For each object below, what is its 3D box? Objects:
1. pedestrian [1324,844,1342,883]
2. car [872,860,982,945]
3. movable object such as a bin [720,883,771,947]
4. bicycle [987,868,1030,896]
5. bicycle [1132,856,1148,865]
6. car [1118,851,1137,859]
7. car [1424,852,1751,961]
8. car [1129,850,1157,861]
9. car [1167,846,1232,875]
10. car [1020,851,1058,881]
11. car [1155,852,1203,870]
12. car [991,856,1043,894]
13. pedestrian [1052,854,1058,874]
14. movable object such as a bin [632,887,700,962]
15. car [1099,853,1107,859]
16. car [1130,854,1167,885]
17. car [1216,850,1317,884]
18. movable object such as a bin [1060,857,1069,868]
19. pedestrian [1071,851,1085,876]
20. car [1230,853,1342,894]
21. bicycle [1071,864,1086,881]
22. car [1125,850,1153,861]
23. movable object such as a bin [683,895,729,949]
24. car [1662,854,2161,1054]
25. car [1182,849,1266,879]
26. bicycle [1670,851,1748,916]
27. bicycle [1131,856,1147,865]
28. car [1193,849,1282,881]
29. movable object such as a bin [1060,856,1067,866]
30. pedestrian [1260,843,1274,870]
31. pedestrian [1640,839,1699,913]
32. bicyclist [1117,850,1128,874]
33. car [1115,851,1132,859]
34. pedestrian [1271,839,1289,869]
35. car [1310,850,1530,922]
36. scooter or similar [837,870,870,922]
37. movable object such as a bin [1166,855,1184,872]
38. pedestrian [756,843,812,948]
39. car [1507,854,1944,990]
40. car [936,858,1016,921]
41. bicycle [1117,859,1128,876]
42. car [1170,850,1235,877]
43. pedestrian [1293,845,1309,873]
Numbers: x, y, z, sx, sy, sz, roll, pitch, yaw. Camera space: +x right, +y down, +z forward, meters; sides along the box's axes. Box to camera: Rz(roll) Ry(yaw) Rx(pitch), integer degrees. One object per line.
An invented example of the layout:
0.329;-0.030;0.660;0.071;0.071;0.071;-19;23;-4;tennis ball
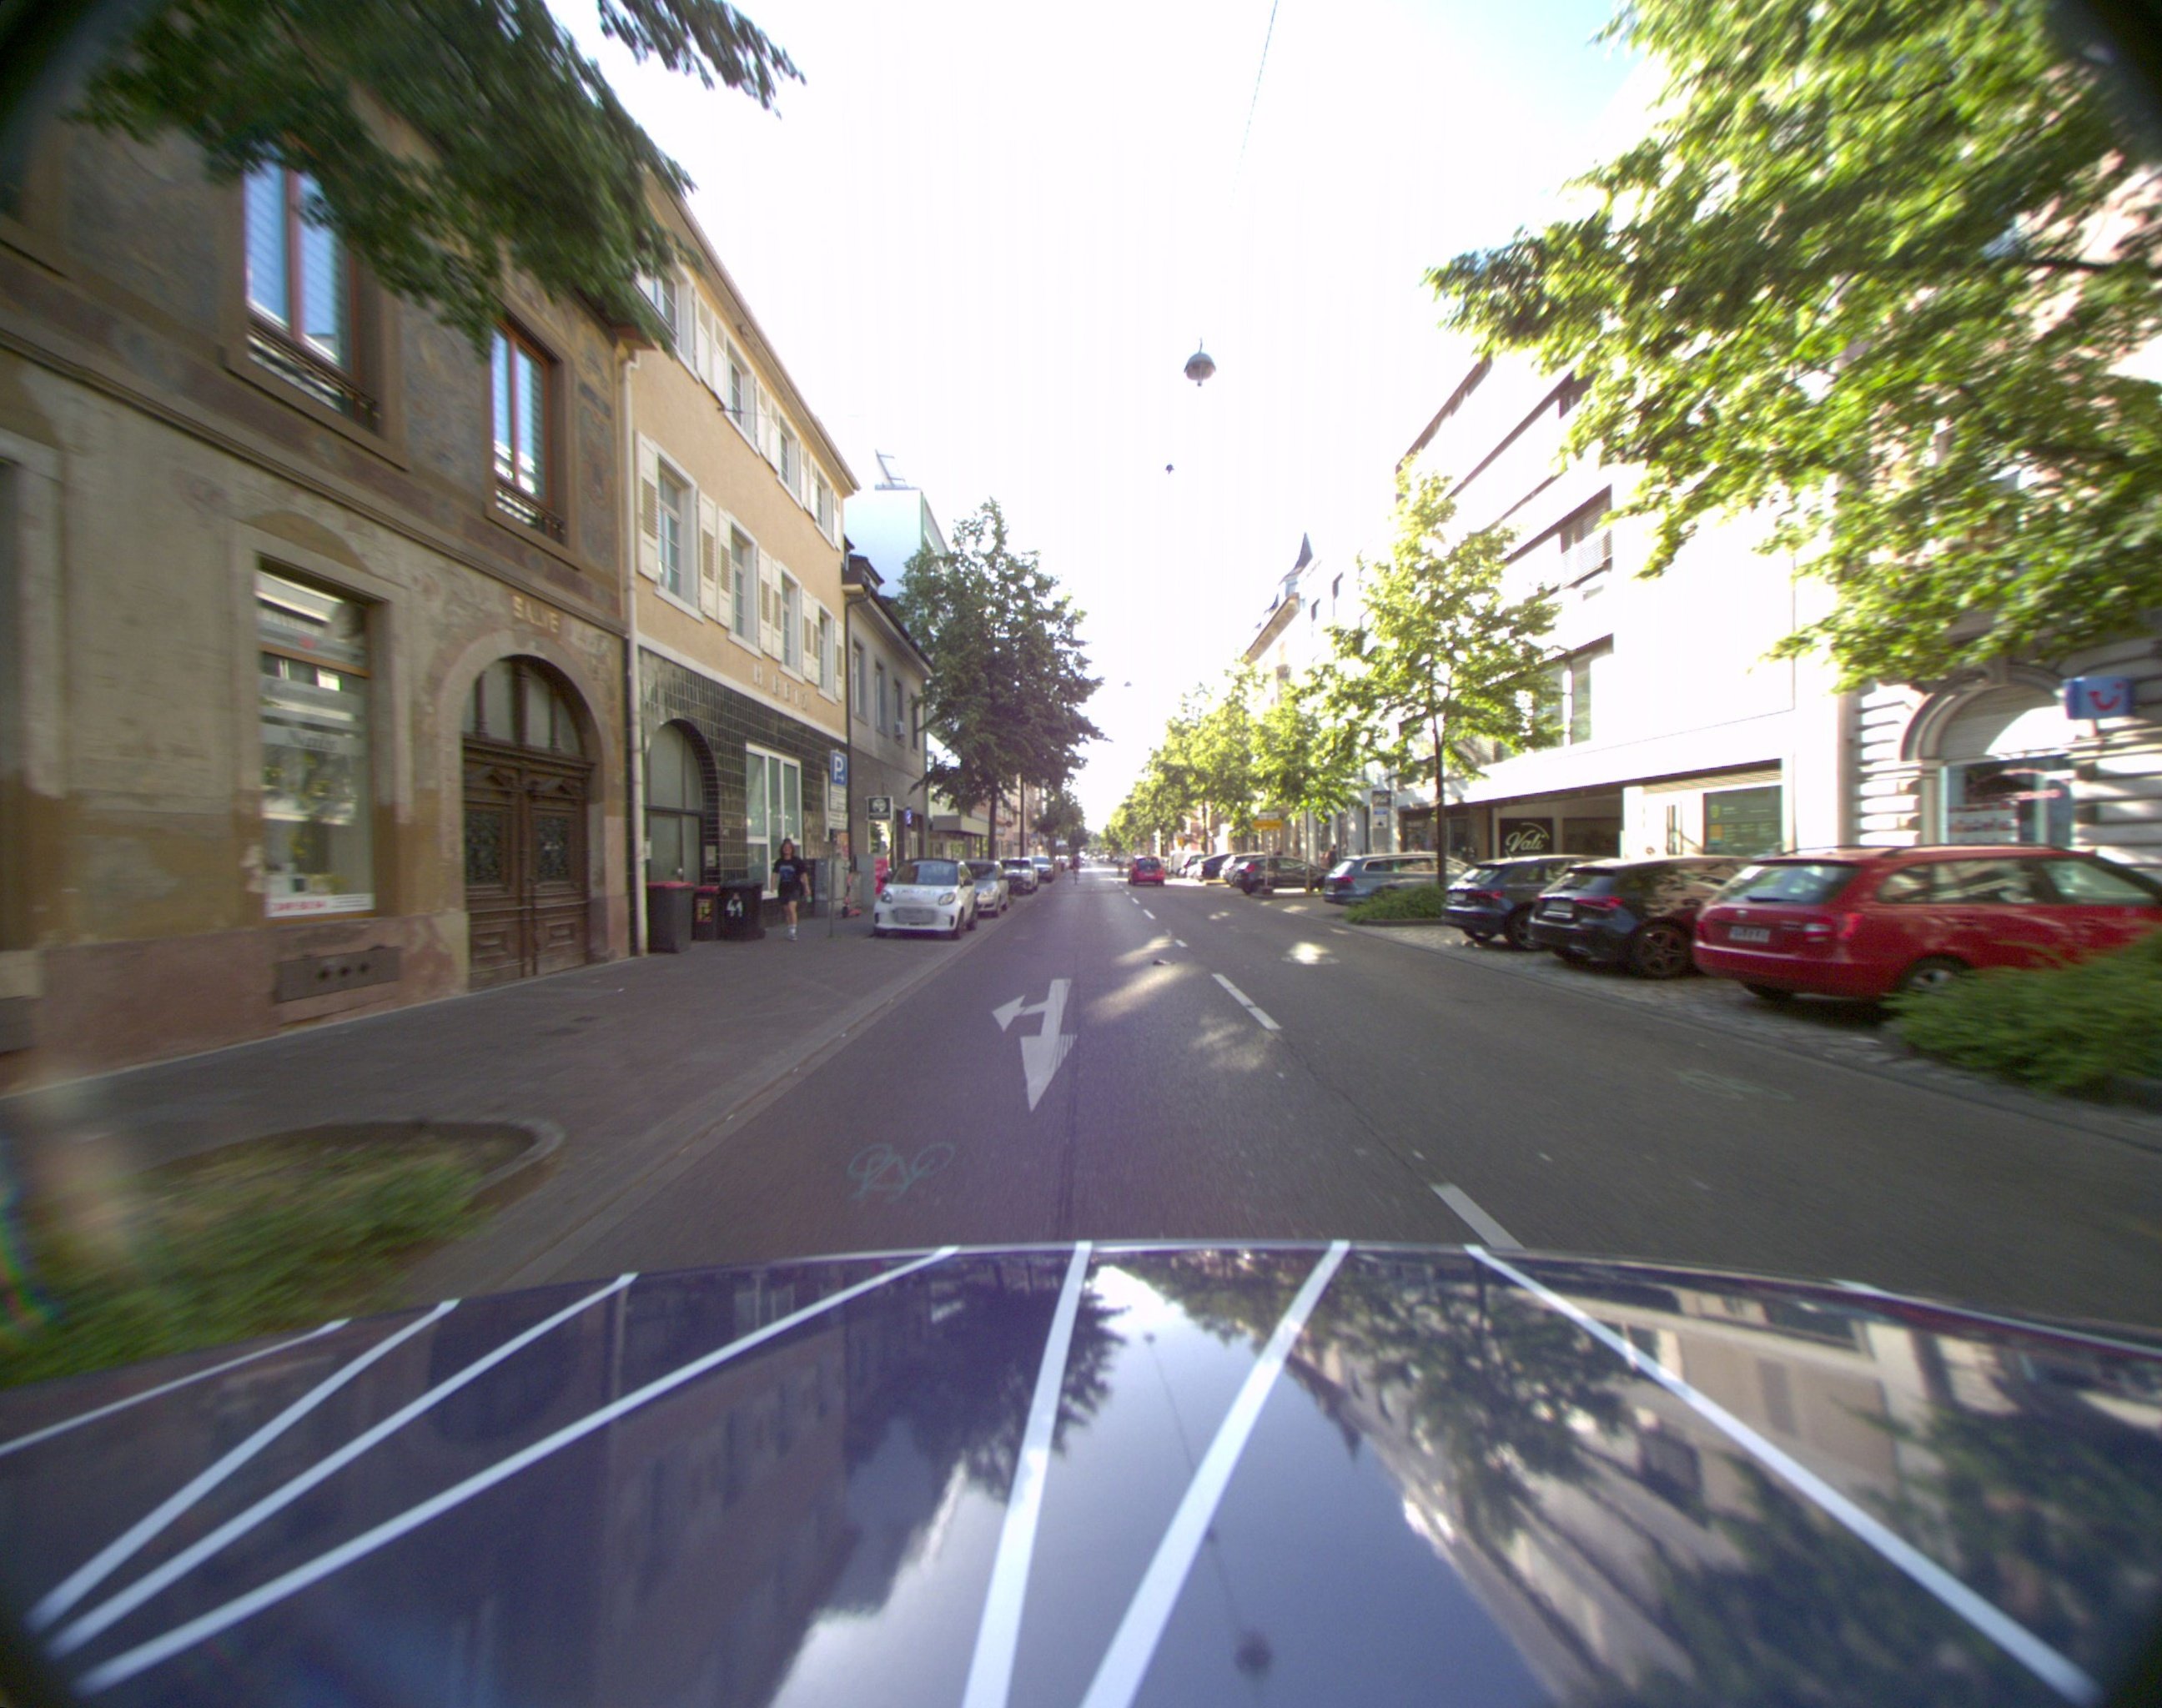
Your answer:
11.845;0.437;35.740;0.700;1.787;0.746;-1;0;12;pedestrian
-3.057;0.916;15.639;1.618;1.520;3.060;1;0;0;car
-5.749;1.031;13.034;0.523;1.034;0.722;1;1;2;movable object such as a bin
-2.915;1.125;30.564;1.626;1.007;0.611;3;0;-1;bicycle
7.478;0.854;96.192;2.006;1.023;0.473;-3;1;-12;bicycle
10.702;0.186;173.947;4.134;1.792;1.911;-2;1;0;car
7.783;0.771;11.983;3.928;1.477;1.771;-2;0;2;car
9.340;0.222;114.581;4.134;1.670;2.000;-2;1;0;car
8.112;0.433;52.265;4.115;1.825;2.039;-2;0;1;car
-2.543;0.719;47.043;1.998;1.680;4.516;2;0;0;car
8.388;0.589;65.091;3.788;1.455;1.710;-2;0;-2;car
-2.769;0.874;33.591;1.888;1.518;4.233;1;0;0;car
-2.088;0.805;61.150;0.474;1.520;0.462;-2;1;2;pedestrian
-6.161;1.026;11.301;0.590;1.034;0.722;1;1;2;movable object such as a bin
5.554;0.519;191.995;1.835;1.410;3.833;-1;0;1;car
3.456;0.766;39.522;1.662;1.526;3.760;0;0;1;car
8.794;0.616;36.191;4.257;1.450;1.980;-1;0;-3;car
-1.866;0.961;86.134;0.944;1.207;0.699;0;1;1;movable object such as a bin
-0.178;0.566;44.171;0.804;1.381;0.931;-2;0;-1;pedestrian
7.871;0.719;29.402;3.790;1.450;1.780;-1;0;-2;car
-0.152;1.074;44.130;0.805;0.958;1.996;-2;0;0;bicycle
9.167;0.187;119.938;4.134;1.670;2.000;-2;1;0;car
-6.318;1.137;12.801;0.512;0.855;0.479;-1;1;2;movable object such as a bin
7.799;0.789;6.852;3.757;1.459;1.739;-2;0;0;car
8.086;0.552;43.283;4.377;1.561;1.946;-1;0;1;car
12.179;0.554;14.769;0.457;1.185;1.298;-4;0;4;bicycle
7.384;0.861;96.615;2.006;1.023;0.473;-3;1;-12;bicycle
8.359;0.564;40.868;4.377;1.561;1.980;-1;0;1;car
-1.947;0.768;84.630;0.634;1.062;0.602;0;2;2;movable object such as a bin
11.482;0.136;46.945;0.566;1.617;0.727;-5;1;-1;pedestrian
11.537;0.430;14.905;0.509;1.400;0.825;-2;0;5;pedestrian
2.973;0.552;54.491;0.727;1.690;1.282;-1;0;1;bicyclist
10.311;0.188;185.014;4.134;1.792;1.911;-2;1;0;car
12.290;0.010;46.958;0.776;1.756;0.763;-5;1;-1;pedestrian
8.106;0.727;18.420;4.505;1.450;1.790;-3;0;-2;car
-5.516;1.003;18.446;0.400;1.180;1.168;1;0;2;scooter or similar
7.246;0.731;58.619;1.240;1.295;0.870;-1;1;0;movable object such as a bin
-5.146;0.697;13.208;0.624;1.755;0.771;1;1;2;pedestrian
7.755;0.776;9.465;3.850;1.420;1.790;-2;0;2;car
-2.845;0.909;21.381;1.618;1.520;4.234;2;0;0;car
2.987;0.930;54.571;0.727;1.162;2.197;-1;0;1;bicycle
7.620;0.608;48.035;3.809;1.549;1.792;-2;0;1;car
11.980;0.253;41.366;0.594;1.485;0.842;-4;0;2;pedestrian
